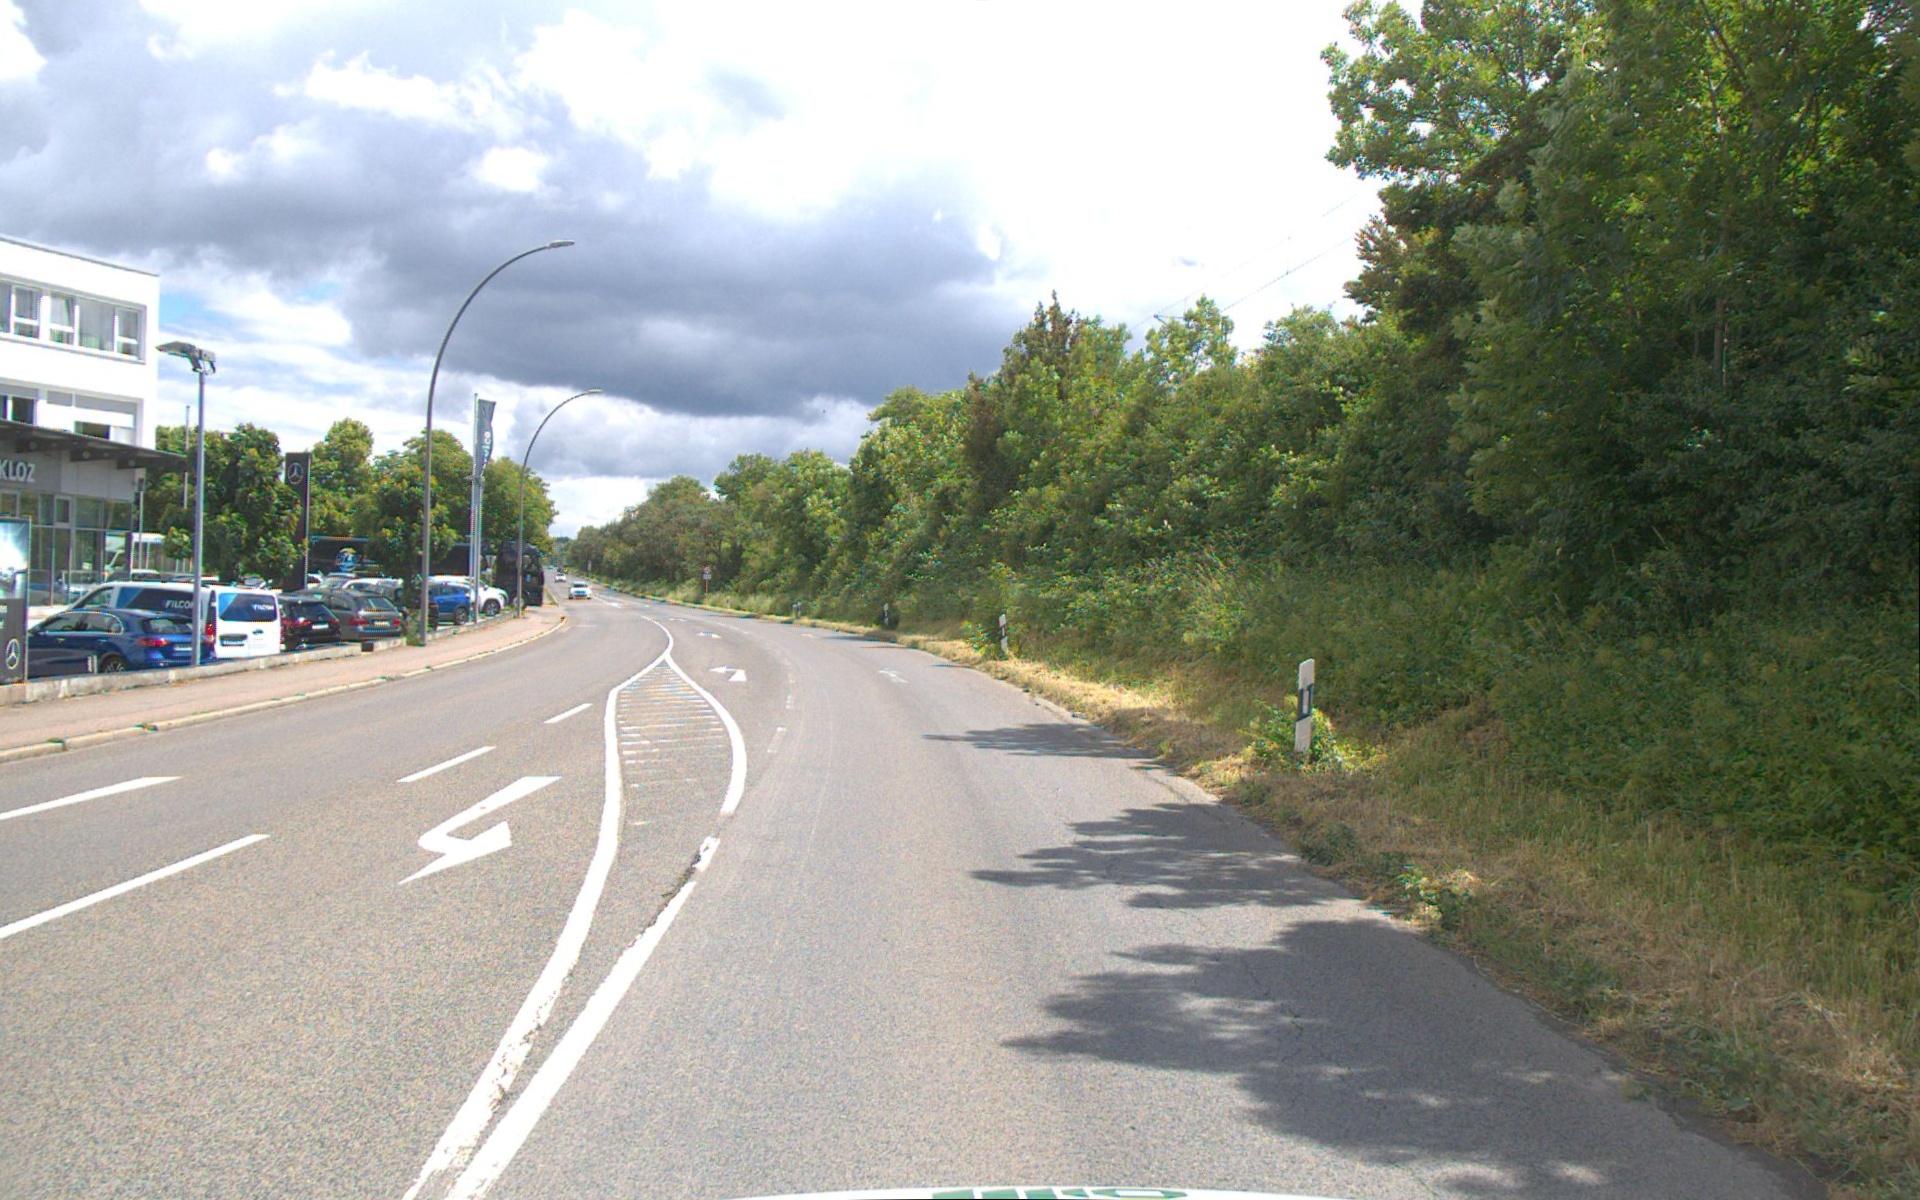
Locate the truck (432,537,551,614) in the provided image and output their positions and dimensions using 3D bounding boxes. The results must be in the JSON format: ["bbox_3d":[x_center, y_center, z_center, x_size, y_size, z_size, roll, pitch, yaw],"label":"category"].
[{"bbox_3d":[-26.123,-1.356,92.220,6.043,4.165,2.802,-1,1,-26],"label":"truck"}]

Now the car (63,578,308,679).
[{"bbox_3d":[-14.747,0.511,31.508,3.895,1.730,2.172,2,0,24],"label":"car"}]

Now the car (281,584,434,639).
[{"bbox_3d":[-17.275,0.316,47.408,4.107,1.426,1.659,2,0,24],"label":"car"}]

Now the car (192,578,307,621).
[{"bbox_3d":[-28.860,-0.002,67.271,1.954,1.673,3.998,2,0,24],"label":"car"}]

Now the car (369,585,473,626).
[{"bbox_3d":[-20.963,0.244,64.452,1.592,1.501,3.998,2,0,24],"label":"car"}]

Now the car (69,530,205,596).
[{"bbox_3d":[-45.813,-1.985,92.413,3.134,3.394,8.184,2,0,2],"label":"car"}]

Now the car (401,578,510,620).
[{"bbox_3d":[-22.814,-0.029,74.913,4.278,1.793,1.969,2,0,-43],"label":"car"}]

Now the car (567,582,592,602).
[{"bbox_3d":[-32.709,-0.695,142.090,1.959,1.564,3.986,2,0,-14],"label":"car"}]

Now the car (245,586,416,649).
[{"bbox_3d":[-16.660,0.455,43.770,4.107,1.505,1.795,2,0,24],"label":"car"}]

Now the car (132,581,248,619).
[{"bbox_3d":[-31.405,0.017,67.557,1.954,1.480,3.998,2,0,24],"label":"car"}]

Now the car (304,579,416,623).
[{"bbox_3d":[-23.825,0.052,65.796,1.954,1.659,3.998,2,0,24],"label":"car"}]

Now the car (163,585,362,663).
[{"bbox_3d":[-16.293,0.543,38.649,4.107,1.629,1.980,2,0,24],"label":"car"}]

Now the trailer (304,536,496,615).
[{"bbox_3d":[-30.378,-1.352,89.948,9.609,4.165,2.800,-1,1,-28],"label":"trailer"}]

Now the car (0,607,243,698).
[{"bbox_3d":[-14.770,0.869,28.751,4.107,1.373,1.936,2,0,24],"label":"car"}]
